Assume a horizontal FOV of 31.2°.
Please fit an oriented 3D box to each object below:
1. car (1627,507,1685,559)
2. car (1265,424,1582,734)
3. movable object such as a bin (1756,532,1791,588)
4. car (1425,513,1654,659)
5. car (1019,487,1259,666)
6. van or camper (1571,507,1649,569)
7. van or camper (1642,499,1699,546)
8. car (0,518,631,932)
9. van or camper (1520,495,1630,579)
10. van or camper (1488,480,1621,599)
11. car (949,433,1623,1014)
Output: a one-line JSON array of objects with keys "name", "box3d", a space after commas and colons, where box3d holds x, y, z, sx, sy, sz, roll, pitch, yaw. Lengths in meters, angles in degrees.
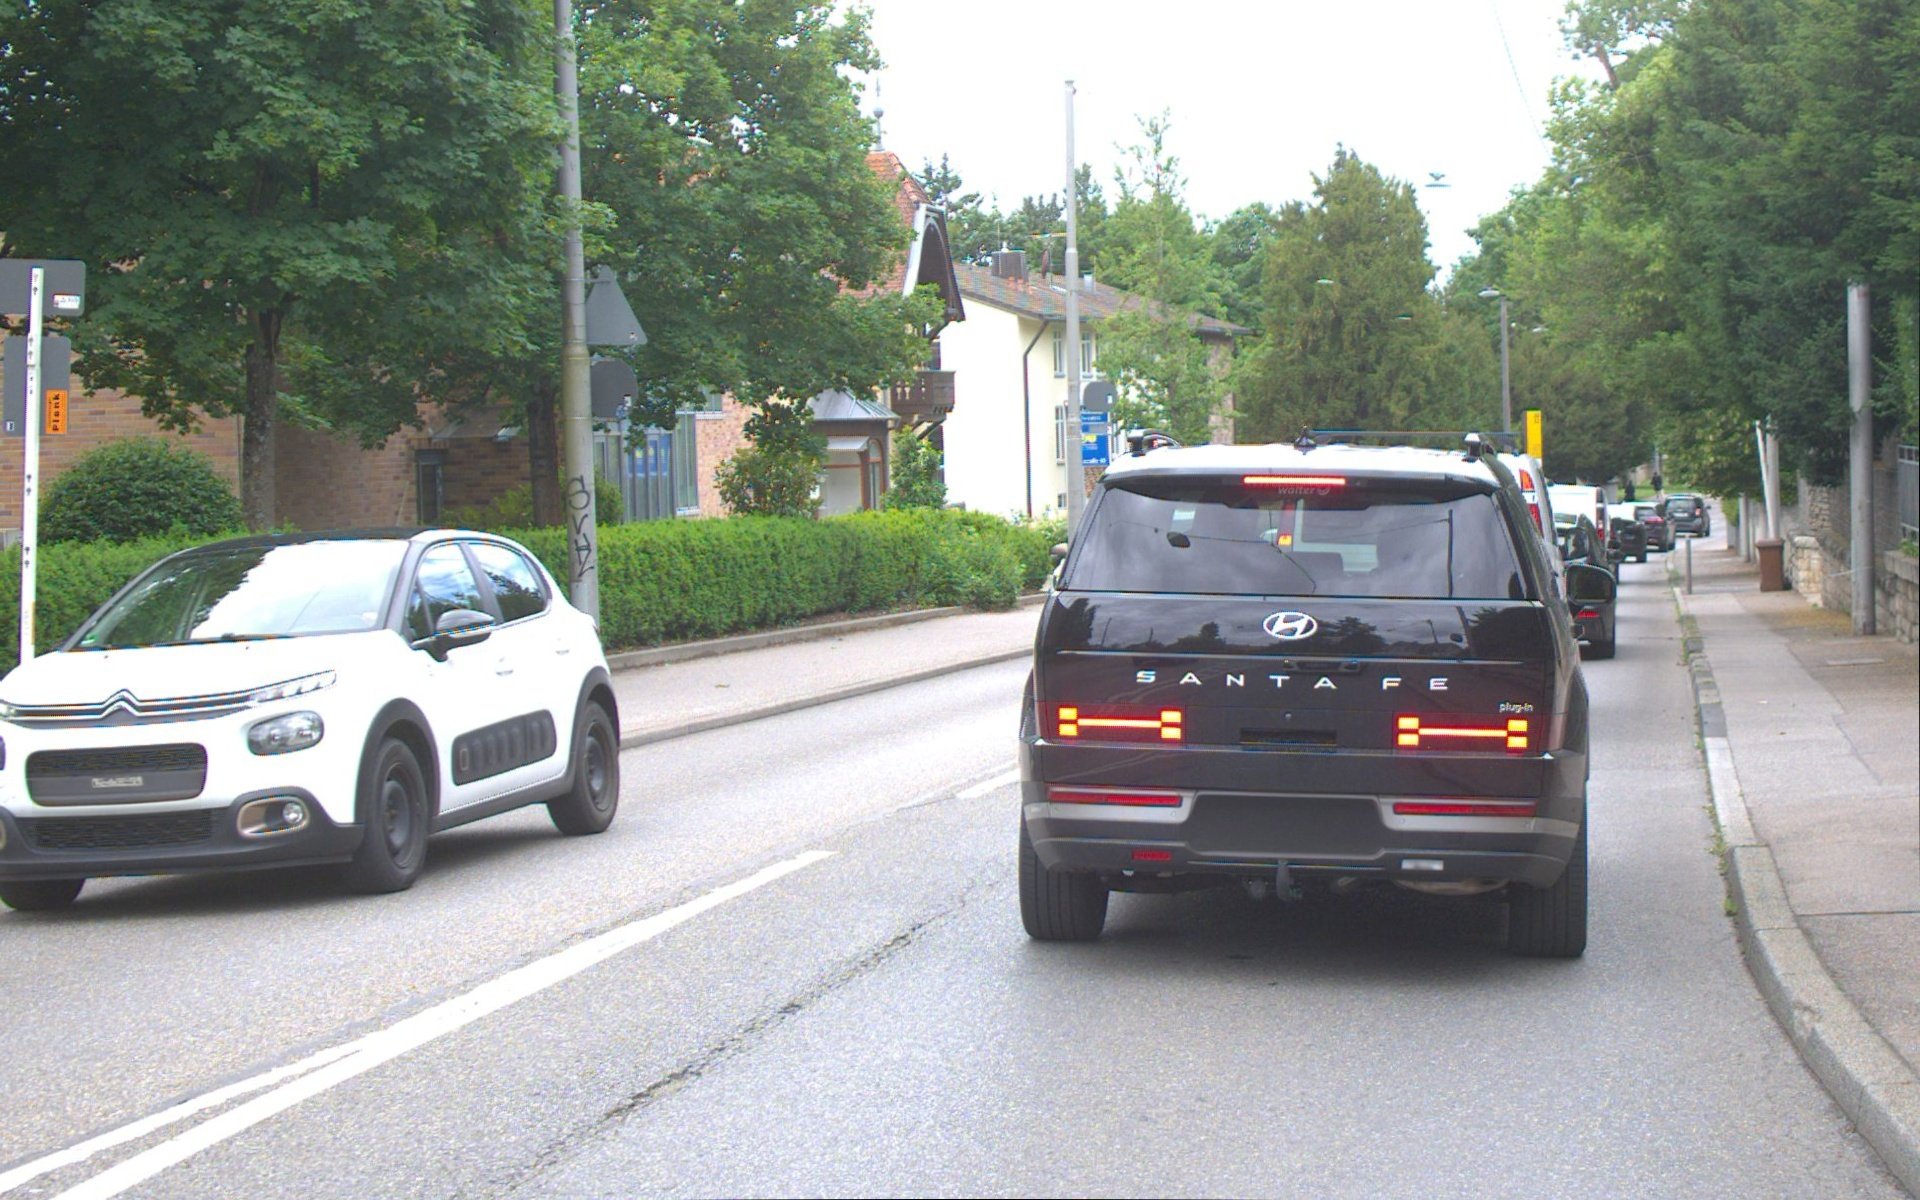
[{"name": "car", "box3d": [22.865, -2.183, 112.857, 1.646, 1.555, 3.647, -1, -1, 15]}, {"name": "car", "box3d": [3.319, -0.203, 23.980, 1.958, 1.949, 4.222, 1, 2, 11]}, {"name": "movable object such as a bin", "box3d": [14.030, -0.688, 59.316, 0.445, 0.906, 0.394, -6, 3, 22]}, {"name": "car", "box3d": [6.116, -0.179, 35.948, 1.995, 1.399, 3.998, -1, 1, 14]}, {"name": "car", "box3d": [1.919, -0.287, 35.626, 1.769, 1.632, 4.300, -4, 1, 11]}, {"name": "van or camper", "box3d": [18.325, -1.760, 96.836, 1.994, 1.646, 3.998, -2, 1, 12]}, {"name": "van or camper", "box3d": [26.498, -2.910, 128.157, 1.994, 1.646, 3.998, -2, 1, 12]}, {"name": "car", "box3d": [-2.826, 0.444, 14.682, 1.696, 1.435, 3.755, -4, 1, 12]}, {"name": "van or camper", "box3d": [12.927, -1.349, 72.477, 1.994, 1.623, 3.999, -3, 1, 7]}, {"name": "van or camper", "box3d": [10.165, -1.060, 58.573, 1.994, 1.881, 3.998, -2, 1, 12]}, {"name": "car", "box3d": [1.372, 0.291, 12.571, 1.958, 1.707, 4.221, 2, 2, 12]}]
